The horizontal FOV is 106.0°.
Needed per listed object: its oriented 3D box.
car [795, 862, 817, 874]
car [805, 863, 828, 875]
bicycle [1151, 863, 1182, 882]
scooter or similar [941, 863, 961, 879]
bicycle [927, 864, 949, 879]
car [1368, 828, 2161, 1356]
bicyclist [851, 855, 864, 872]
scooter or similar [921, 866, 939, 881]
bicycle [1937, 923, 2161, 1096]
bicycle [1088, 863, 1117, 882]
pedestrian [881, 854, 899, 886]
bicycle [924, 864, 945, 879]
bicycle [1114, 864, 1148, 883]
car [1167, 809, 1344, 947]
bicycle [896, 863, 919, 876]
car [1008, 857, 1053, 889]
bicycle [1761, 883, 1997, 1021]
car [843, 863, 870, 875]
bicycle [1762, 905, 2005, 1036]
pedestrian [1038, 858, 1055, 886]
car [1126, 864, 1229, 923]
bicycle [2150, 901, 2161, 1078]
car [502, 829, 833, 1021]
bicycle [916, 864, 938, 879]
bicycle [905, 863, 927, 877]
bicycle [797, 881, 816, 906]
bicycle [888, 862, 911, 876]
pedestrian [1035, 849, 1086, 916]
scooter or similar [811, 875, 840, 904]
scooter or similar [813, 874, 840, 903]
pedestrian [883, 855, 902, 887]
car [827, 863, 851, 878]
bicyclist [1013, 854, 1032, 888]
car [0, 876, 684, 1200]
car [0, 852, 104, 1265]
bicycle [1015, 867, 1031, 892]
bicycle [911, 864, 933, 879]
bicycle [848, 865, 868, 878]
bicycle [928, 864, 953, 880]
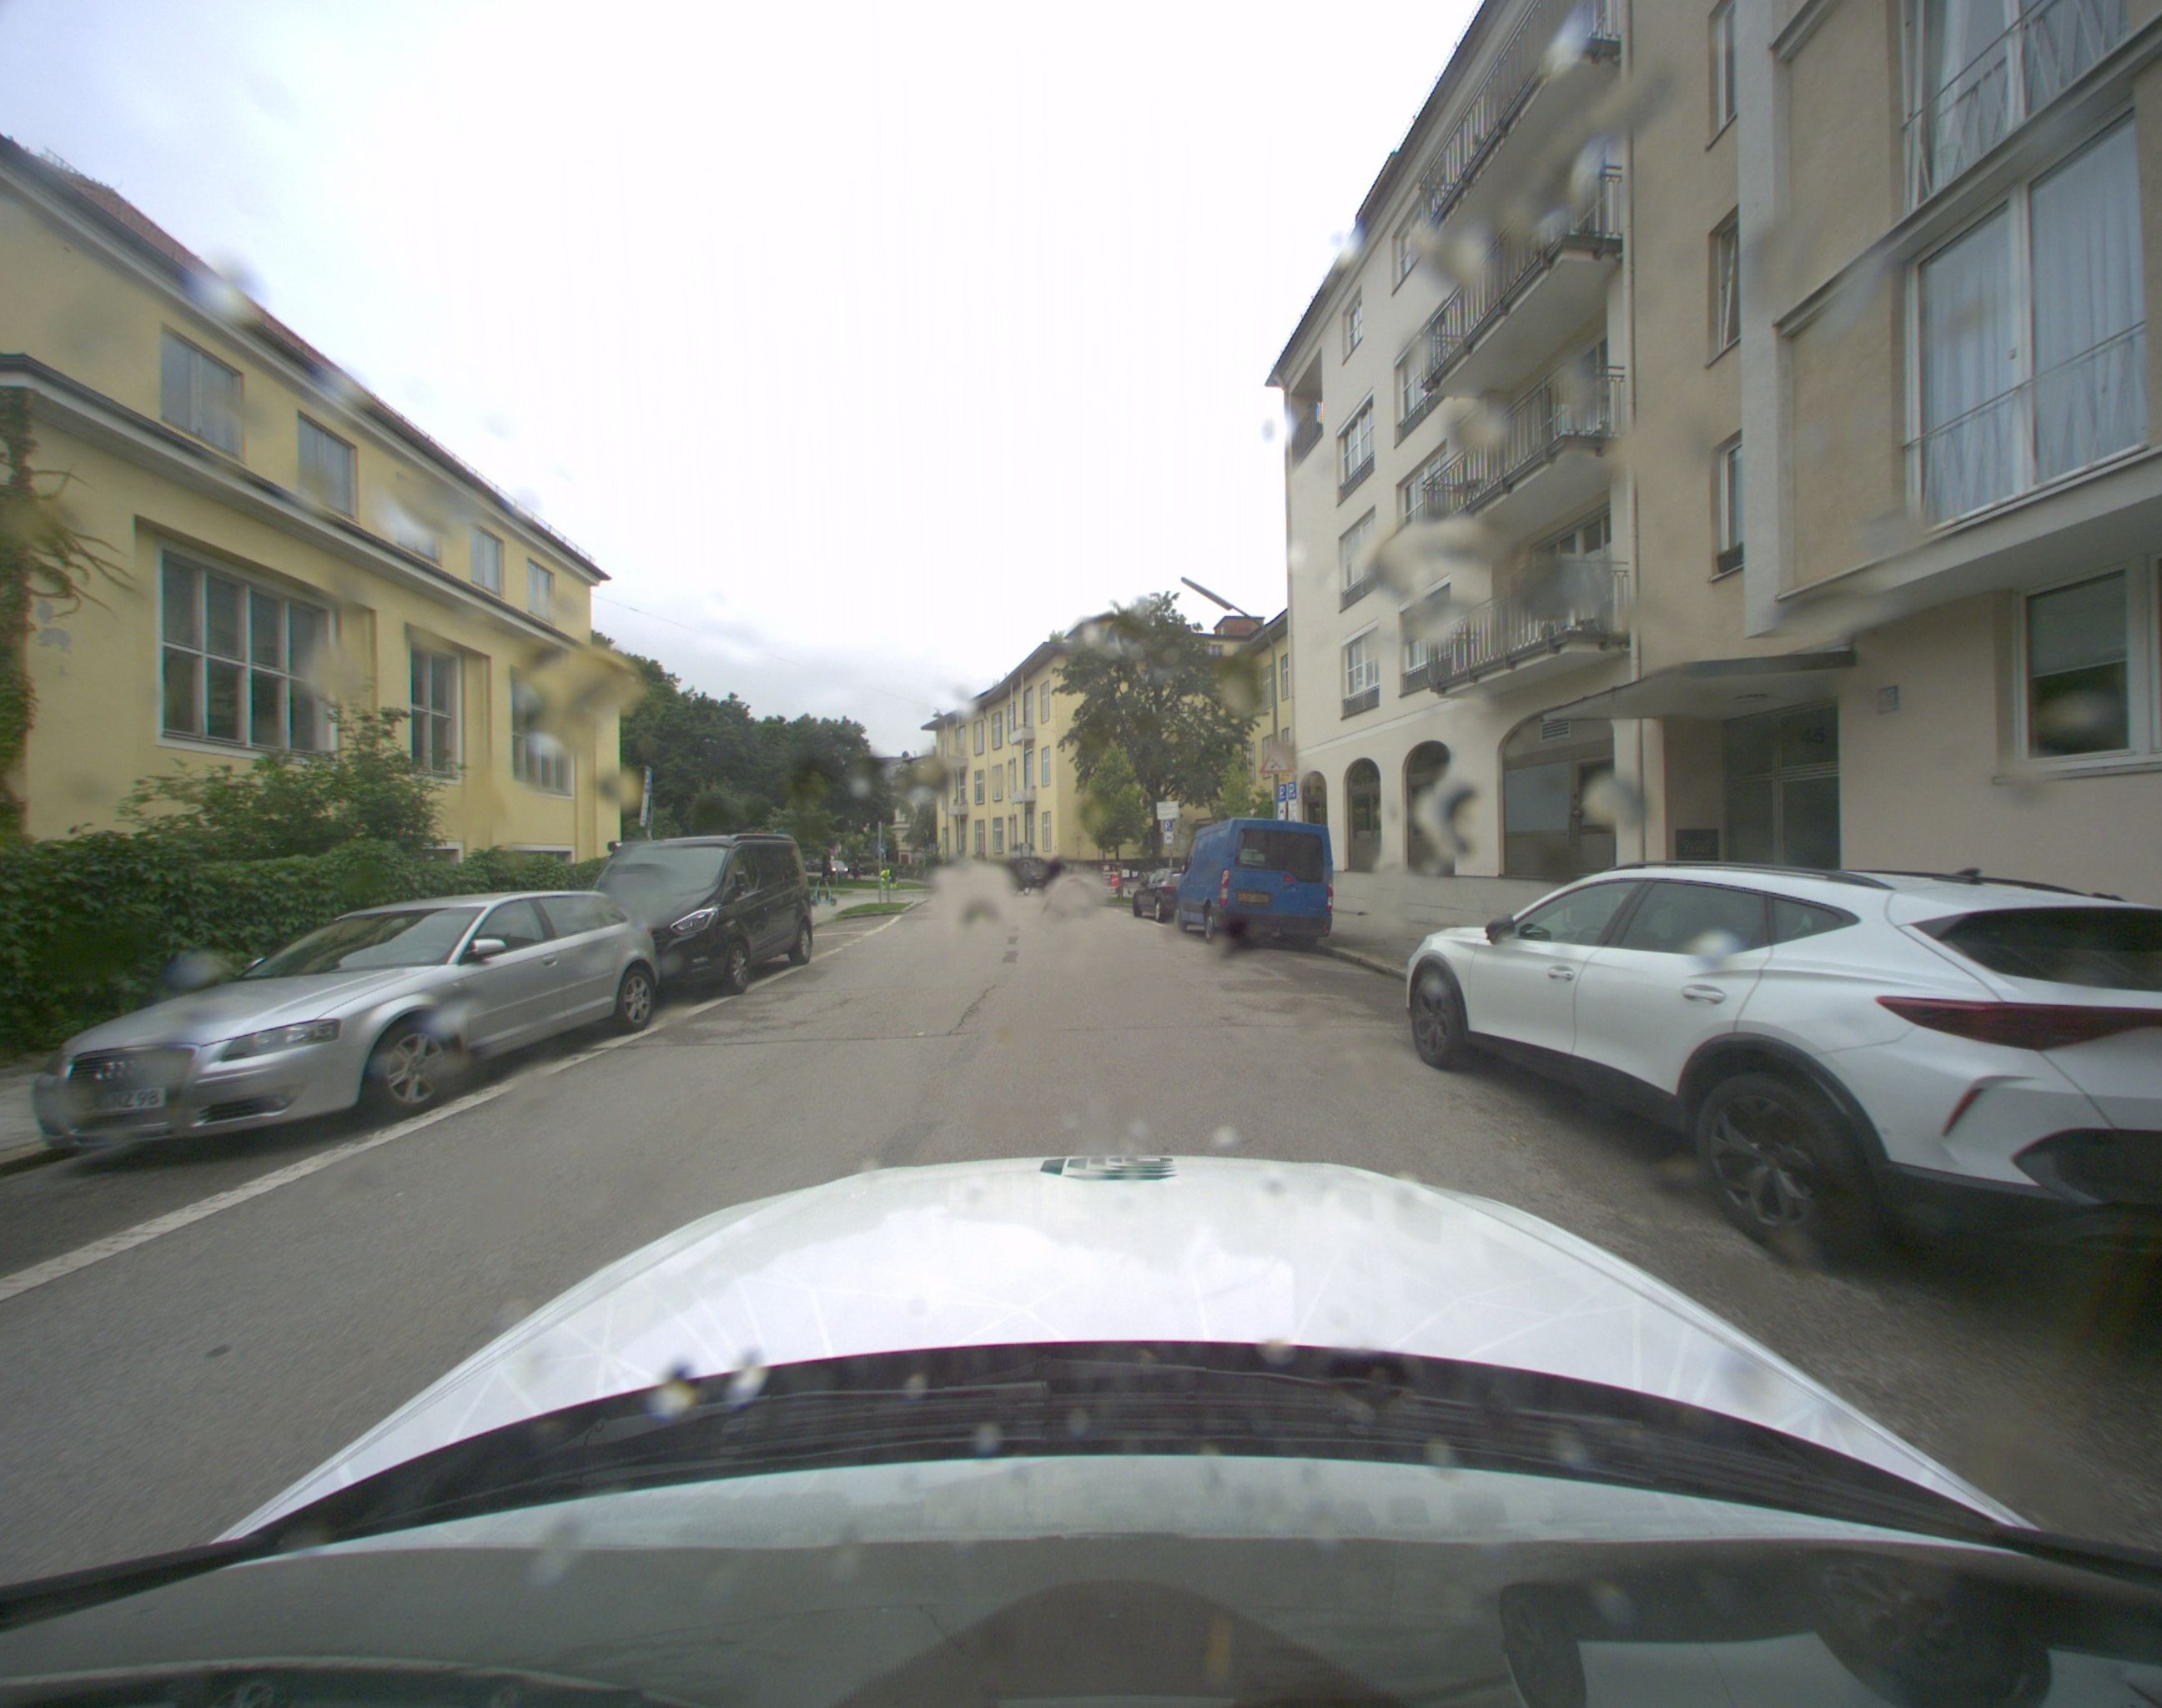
[{"bbox_3d":[-39.353,2.058,116.367,2.008,1.606,3.958,-1,-1,-33],"label":"car"},{"bbox_3d":[-36.334,2.015,111.669,2.008,1.606,3.958,-1,-1,-33],"label":"car"},{"bbox_3d":[5.537,1.199,52.712,1.917,1.201,0.595,-1,0,-3],"label":"bicycle"},{"bbox_3d":[-11.170,1.452,70.097,0.726,1.305,2.166,-1,0,17],"label":"scooter or similar"},{"bbox_3d":[-12.761,1.540,72.940,0.725,1.305,2.169,-1,0,29],"label":"bicycle"},{"bbox_3d":[3.494,0.728,4.750,1.781,1.533,4.643,2,0,-3],"label":"car"},{"bbox_3d":[-20.456,0.894,74.526,0.933,1.521,0.750,-2,-1,44],"label":"bicyclist"},{"bbox_3d":[-13.711,1.731,74.067,0.725,1.305,1.740,-1,0,26],"label":"scooter or similar"},{"bbox_3d":[6.602,0.975,5.428,0.376,0.905,1.393,-1,0,3],"label":"bicycle"},{"bbox_3d":[1.410,1.218,54.053,1.903,1.201,0.599,-1,0,39],"label":"bicycle"},{"bbox_3d":[-12.206,1.024,52.141,0.929,2.014,0.956,-1,0,-2],"label":"pedestrian"},{"bbox_3d":[-13.258,1.541,73.740,0.725,1.305,2.169,-1,0,29],"label":"bicycle"},{"bbox_3d":[3.245,1.281,52.808,2.051,1.201,0.598,-1,0,16],"label":"bicycle"},{"bbox_3d":[3.250,0.476,16.456,2.075,2.234,5.237,3,-2,-4],"label":"car"},{"bbox_3d":[-17.179,1.539,80.691,2.159,1.305,0.729,-1,0,-24],"label":"bicycle"},{"bbox_3d":[-3.350,1.215,53.247,1.768,1.874,4.350,3,-1,-19],"label":"car"},{"bbox_3d":[7.592,0.867,7.886,0.453,1.110,1.854,-1,0,0],"label":"bicycle"},{"bbox_3d":[-26.210,1.754,94.960,2.007,1.372,3.960,-1,-1,-31],"label":"car"},{"bbox_3d":[7.046,0.973,7.285,0.453,0.923,1.735,-1,0,0],"label":"bicycle"},{"bbox_3d":[-2.275,1.174,53.423,0.877,1.823,0.793,-1,0,-18],"label":"pedestrian"},{"bbox_3d":[2.560,1.033,22.629,1.677,1.389,4.291,3,-1,-10],"label":"car"},{"bbox_3d":[7.018,0.862,4.522,0.376,1.119,1.393,-1,0,3],"label":"bicycle"},{"bbox_3d":[-5.278,0.790,11.494,2.068,1.964,5.343,-3,-1,-3],"label":"car"},{"bbox_3d":[-14.069,1.620,74.599,0.725,1.305,2.169,-1,0,29],"label":"bicycle"},{"bbox_3d":[-15.574,1.514,76.872,0.725,1.305,2.169,-1,0,29],"label":"bicycle"},{"bbox_3d":[-11.200,1.613,33.203,0.545,0.974,1.144,-1,-1,-27],"label":"bicycle"},{"bbox_3d":[-18.358,1.520,82.457,2.159,1.305,0.729,-1,0,-24],"label":"bicycle"},{"bbox_3d":[-0.572,0.801,22.728,0.962,1.801,0.923,-1,-3,-44],"label":"pedestrian"},{"bbox_3d":[-10.572,1.461,33.706,1.111,1.188,0.345,-1,0,3],"label":"scooter or similar"},{"bbox_3d":[-10.783,1.447,34.473,0.341,1.188,1.126,-1,0,32],"label":"scooter or similar"},{"bbox_3d":[-11.716,1.048,50.686,0.929,2.014,0.956,-1,0,-2],"label":"pedestrian"},{"bbox_3d":[-25.075,1.712,84.327,1.922,1.471,3.970,-1,0,-22],"label":"car"},{"bbox_3d":[-2.836,0.831,39.663,0.862,1.607,0.944,-1,-1,-7],"label":"bicyclist"},{"bbox_3d":[-5.111,0.998,6.290,1.688,1.393,4.502,-5,0,1],"label":"car"},{"bbox_3d":[-5.245,0.872,1.335,1.691,1.643,4.491,-5,0,1],"label":"car"},{"bbox_3d":[-2.814,1.235,39.550,0.669,1.159,1.998,-1,-1,-7],"label":"bicycle"},{"bbox_3d":[-14.682,1.605,75.223,0.725,1.305,2.169,-1,0,29],"label":"bicycle"},{"bbox_3d":[-20.450,1.615,74.534,2.117,1.215,0.750,-2,-1,44],"label":"bicycle"},{"bbox_3d":[-12.214,1.587,70.886,2.168,1.305,0.725,-1,-1,-44],"label":"bicycle"}]
